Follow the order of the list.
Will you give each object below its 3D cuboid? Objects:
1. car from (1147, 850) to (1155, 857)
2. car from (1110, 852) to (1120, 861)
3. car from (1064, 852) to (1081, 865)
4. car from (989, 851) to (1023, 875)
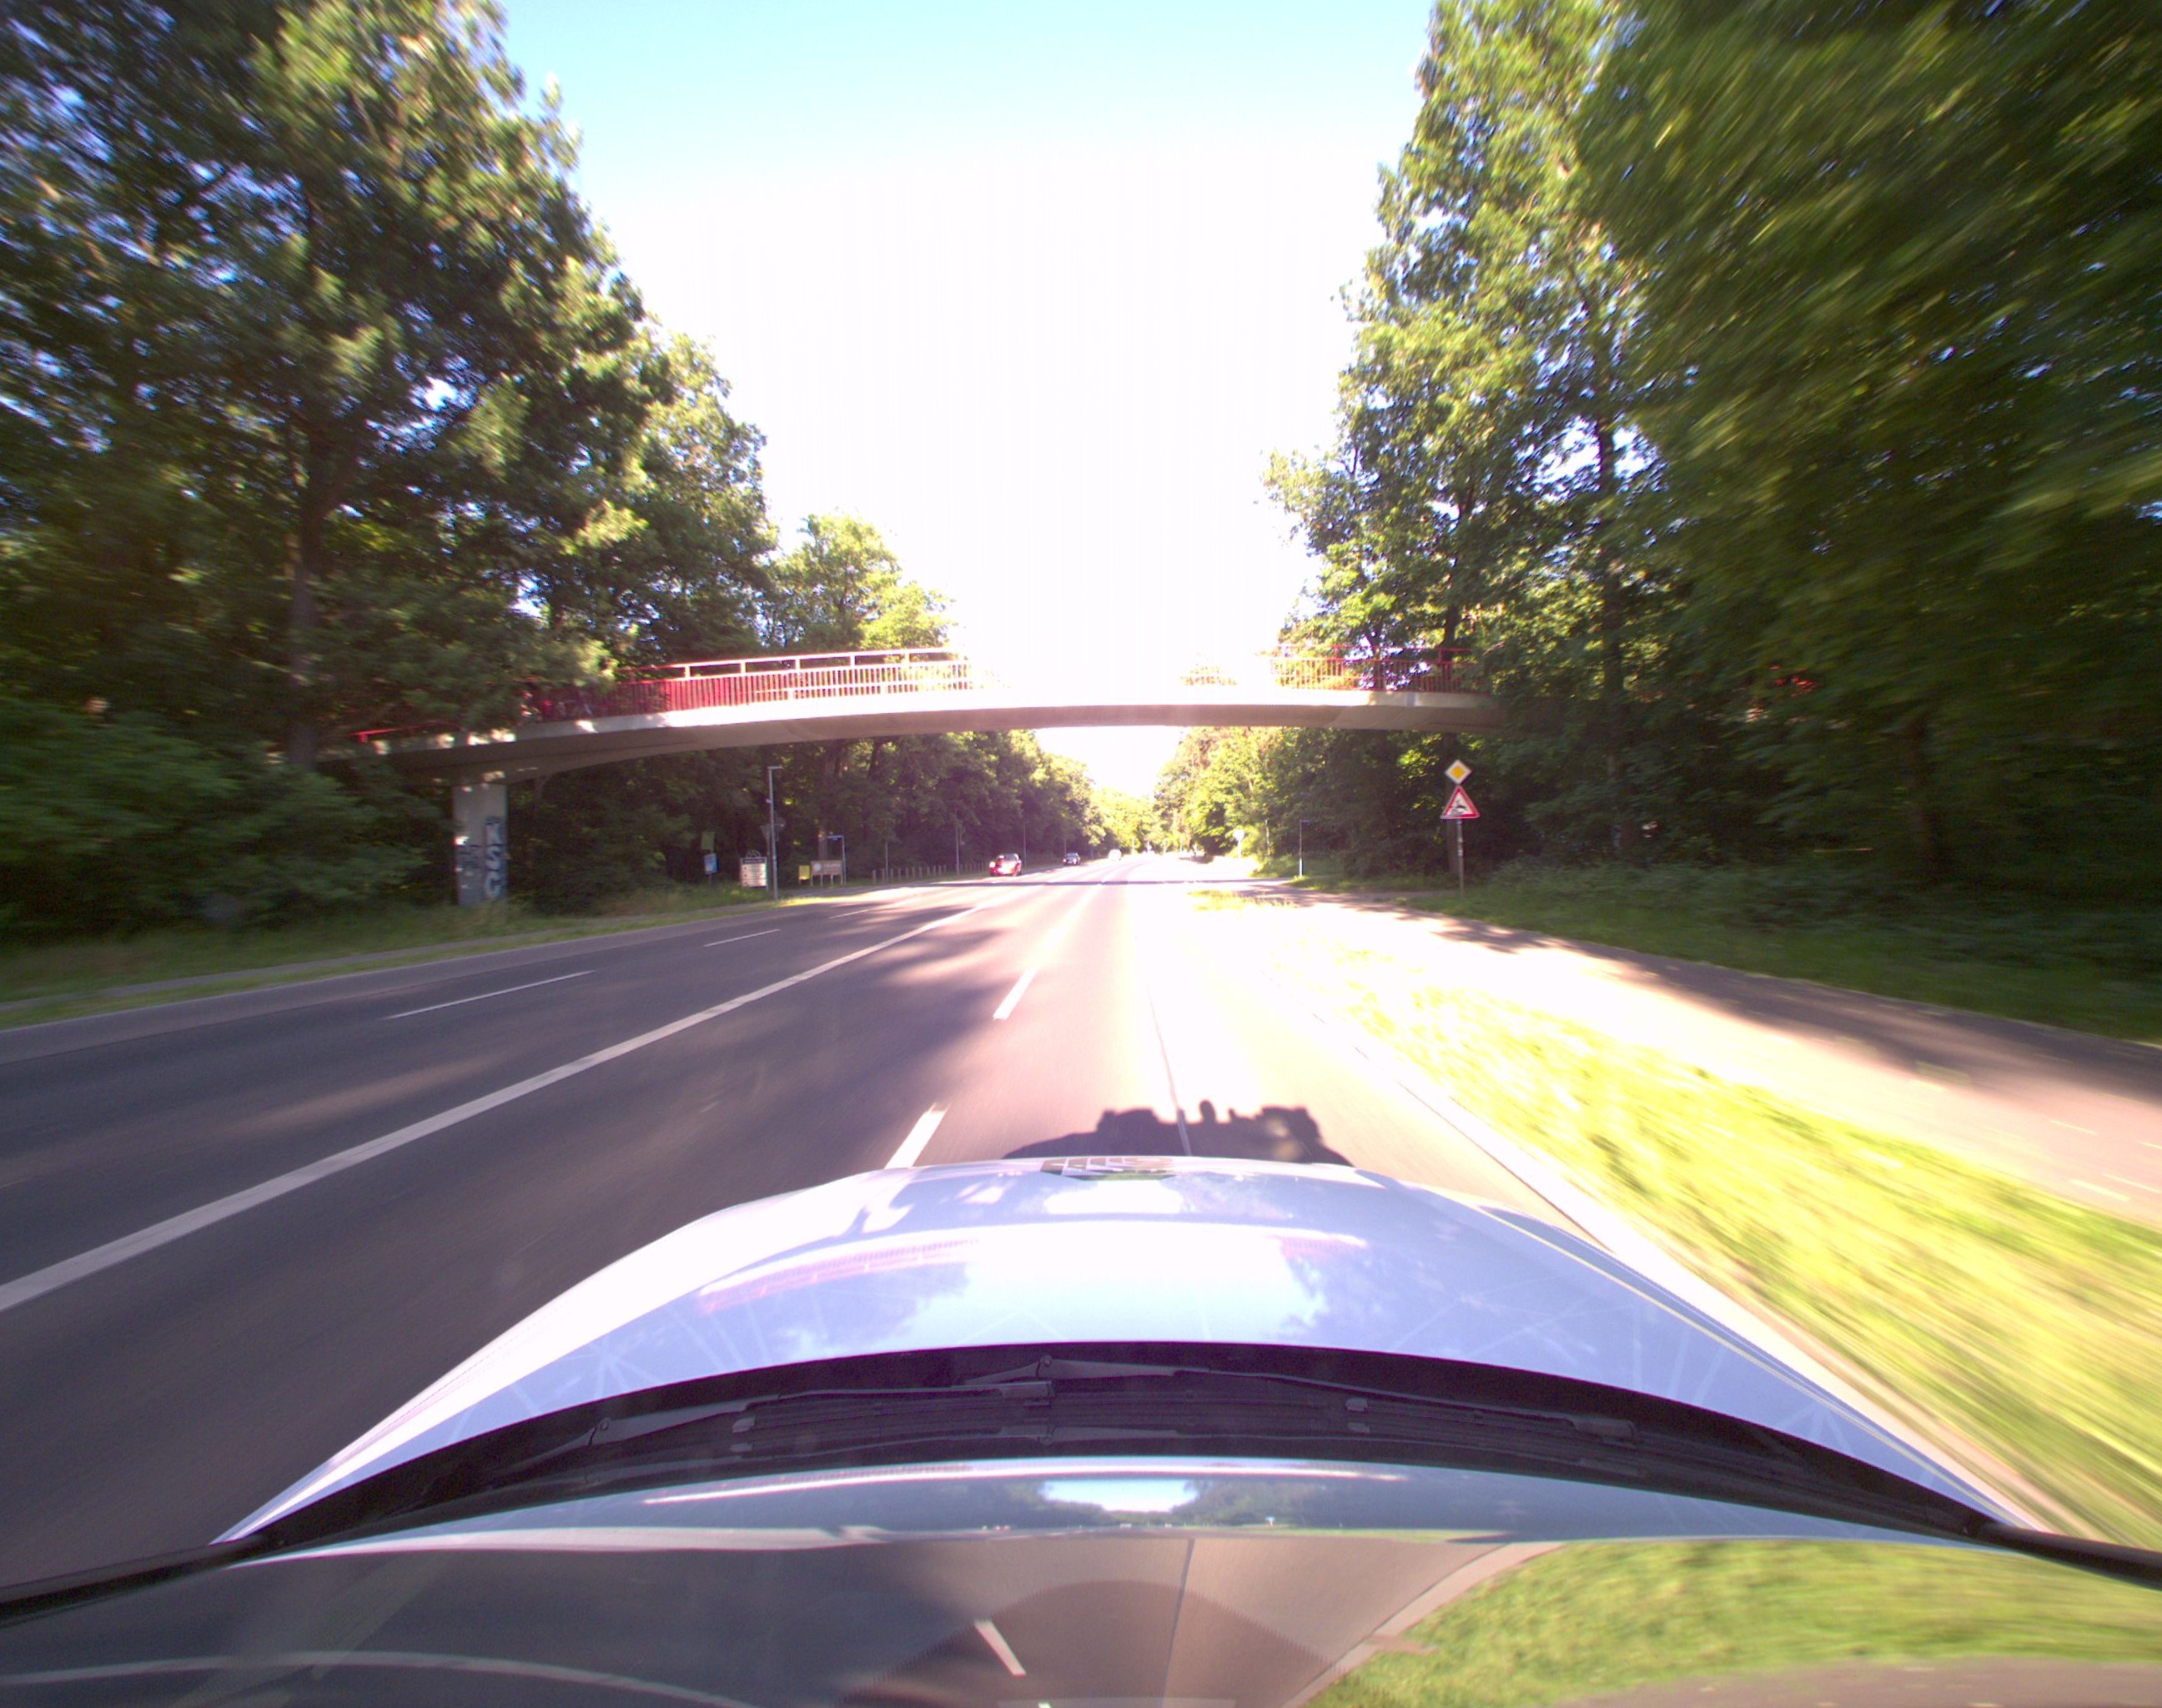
[{"bbox_3d":[19.070,-0.185,221.059,1.774,1.709,4.009,-1,0,8],"label":"car"},{"bbox_3d":[6.331,0.425,149.917,1.698,1.709,4.004,-1,0,3],"label":"car"},{"bbox_3d":[-0.997,0.529,97.711,1.714,1.574,4.183,0,0,4],"label":"car"},{"bbox_3d":[-5.226,0.618,57.353,1.754,1.582,4.173,0,0,4],"label":"car"}]
